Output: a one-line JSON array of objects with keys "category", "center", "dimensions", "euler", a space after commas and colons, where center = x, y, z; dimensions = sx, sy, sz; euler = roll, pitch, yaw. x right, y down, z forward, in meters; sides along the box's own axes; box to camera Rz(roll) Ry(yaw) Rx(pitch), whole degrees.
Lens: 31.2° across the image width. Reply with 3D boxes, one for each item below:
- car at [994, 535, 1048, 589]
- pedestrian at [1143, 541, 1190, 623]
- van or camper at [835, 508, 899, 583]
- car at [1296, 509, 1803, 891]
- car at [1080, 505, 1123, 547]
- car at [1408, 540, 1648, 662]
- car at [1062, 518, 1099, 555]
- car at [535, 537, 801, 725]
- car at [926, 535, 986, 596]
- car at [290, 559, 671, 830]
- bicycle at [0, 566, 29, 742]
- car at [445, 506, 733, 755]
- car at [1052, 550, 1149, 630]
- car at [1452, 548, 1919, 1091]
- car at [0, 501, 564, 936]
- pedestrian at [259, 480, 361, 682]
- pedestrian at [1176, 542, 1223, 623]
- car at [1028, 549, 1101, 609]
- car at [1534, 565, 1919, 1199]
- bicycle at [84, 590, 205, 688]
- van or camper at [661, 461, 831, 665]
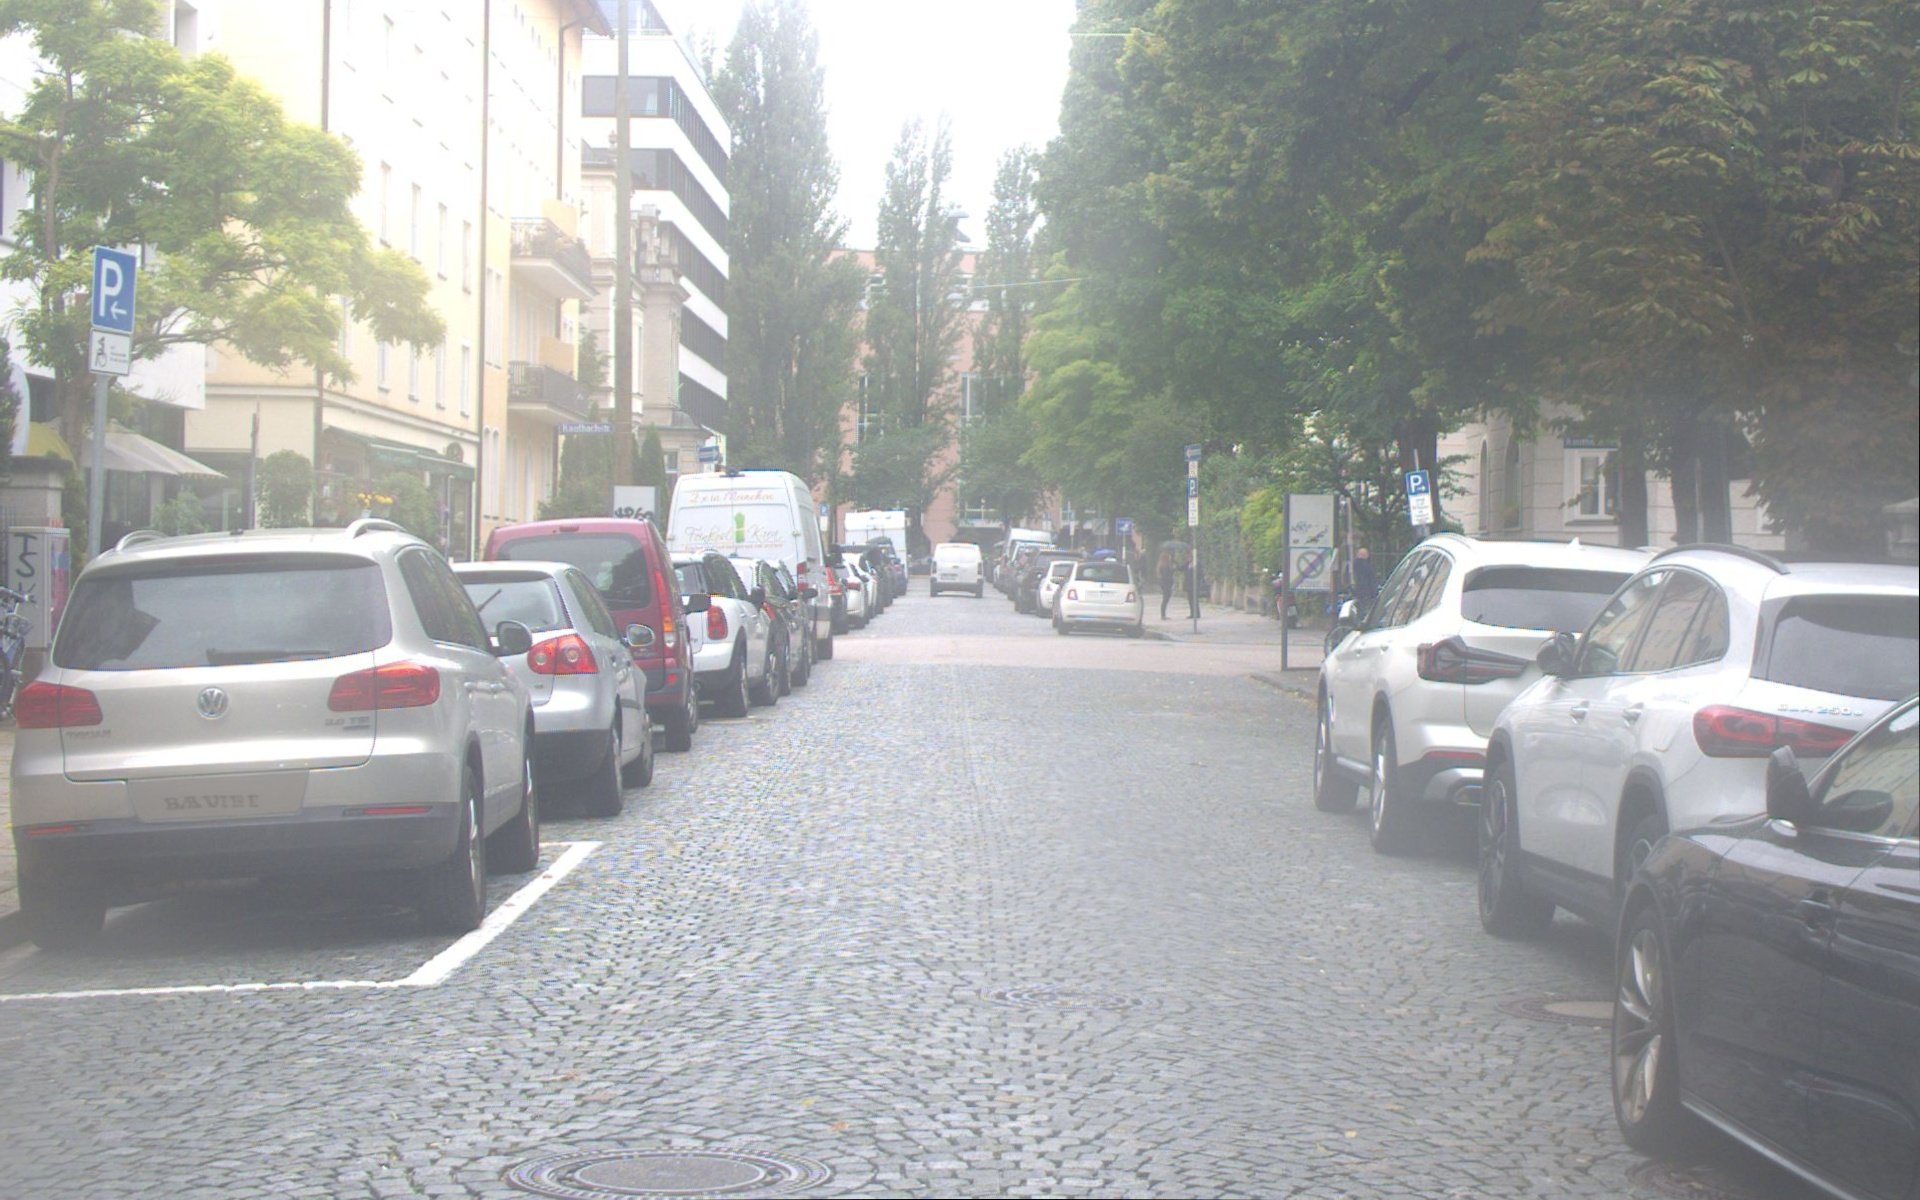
[{"category": "car", "center": [2.351, -1.474, 132.540], "dimensions": [1.993, 2.007, 4.000], "euler": [2, 1, 1]}, {"category": "pedestrian", "center": [5.145, -0.457, 85.656], "dimensions": [0.856, 2.007, 0.991], "euler": [1, 1, -17]}, {"category": "van or camper", "center": [-3.558, -2.094, 132.258], "dimensions": [2.256, 2.733, 5.098], "euler": [2, 1, 0]}, {"category": "car", "center": [3.064, 0.448, 18.858], "dimensions": [1.873, 1.727, 4.593], "euler": [4, 1, 0]}, {"category": "car", "center": [7.042, -3.677, 171.511], "dimensions": [1.993, 2.007, 4.000], "euler": [1, 0, 1]}, {"category": "car", "center": [9.804, -0.004, 59.615], "dimensions": [3.988, 2.007, 1.999], "euler": [1, 1, 7]}, {"category": "car", "center": [6.867, -3.600, 196.051], "dimensions": [1.993, 2.007, 4.000], "euler": [1, 0, 1]}, {"category": "car", "center": [-2.697, 0.251, 32.701], "dimensions": [1.873, 1.574, 4.207], "euler": [3, 1, 3]}, {"category": "car", "center": [-0.126, -1.199, 117.910], "dimensions": [1.993, 2.007, 4.000], "euler": [1, 1, 1]}, {"category": "car", "center": [-2.823, 0.496, 21.080], "dimensions": [1.873, 1.446, 4.208], "euler": [-1, 1, -2]}, {"category": "bicycle", "center": [-7.224, 0.372, 25.167], "dimensions": [0.655, 1.217, 2.090], "euler": [1, 1, -19]}, {"category": "car", "center": [-2.895, 0.191, 27.638], "dimensions": [1.873, 1.770, 4.123], "euler": [-3, 1, -1]}, {"category": "car", "center": [2.772, -0.222, 68.698], "dimensions": [1.790, 1.515, 4.000], "euler": [1, 1, 1]}, {"category": "car", "center": [3.057, 0.662, 12.395], "dimensions": [1.817, 1.574, 4.208], "euler": [4, 1, -1]}, {"category": "car", "center": [-2.863, 0.408, 15.029], "dimensions": [1.873, 1.574, 4.256], "euler": [-2, 1, -2]}, {"category": "pedestrian", "center": [-6.320, -0.188, 33.451], "dimensions": [0.792, 1.911, 0.759], "euler": [2, 1, 0]}, {"category": "pedestrian", "center": [5.996, -0.443, 86.095], "dimensions": [0.856, 2.007, 0.991], "euler": [1, 1, -17]}, {"category": "car", "center": [2.687, -0.564, 89.359], "dimensions": [1.790, 1.515, 4.000], "euler": [1, 1, 1]}, {"category": "car", "center": [2.644, 0.747, 7.253], "dimensions": [1.873, 1.498, 4.512], "euler": [3, 1, -2]}, {"category": "bicycle", "center": [-7.520, 0.344, 31.790], "dimensions": [0.502, 0.836, 2.089], "euler": [1, 1, 3]}, {"category": "van or camper", "center": [-2.915, -0.523, 47.664], "dimensions": [1.993, 2.643, 4.000], "euler": [-2, 1, 1]}]
